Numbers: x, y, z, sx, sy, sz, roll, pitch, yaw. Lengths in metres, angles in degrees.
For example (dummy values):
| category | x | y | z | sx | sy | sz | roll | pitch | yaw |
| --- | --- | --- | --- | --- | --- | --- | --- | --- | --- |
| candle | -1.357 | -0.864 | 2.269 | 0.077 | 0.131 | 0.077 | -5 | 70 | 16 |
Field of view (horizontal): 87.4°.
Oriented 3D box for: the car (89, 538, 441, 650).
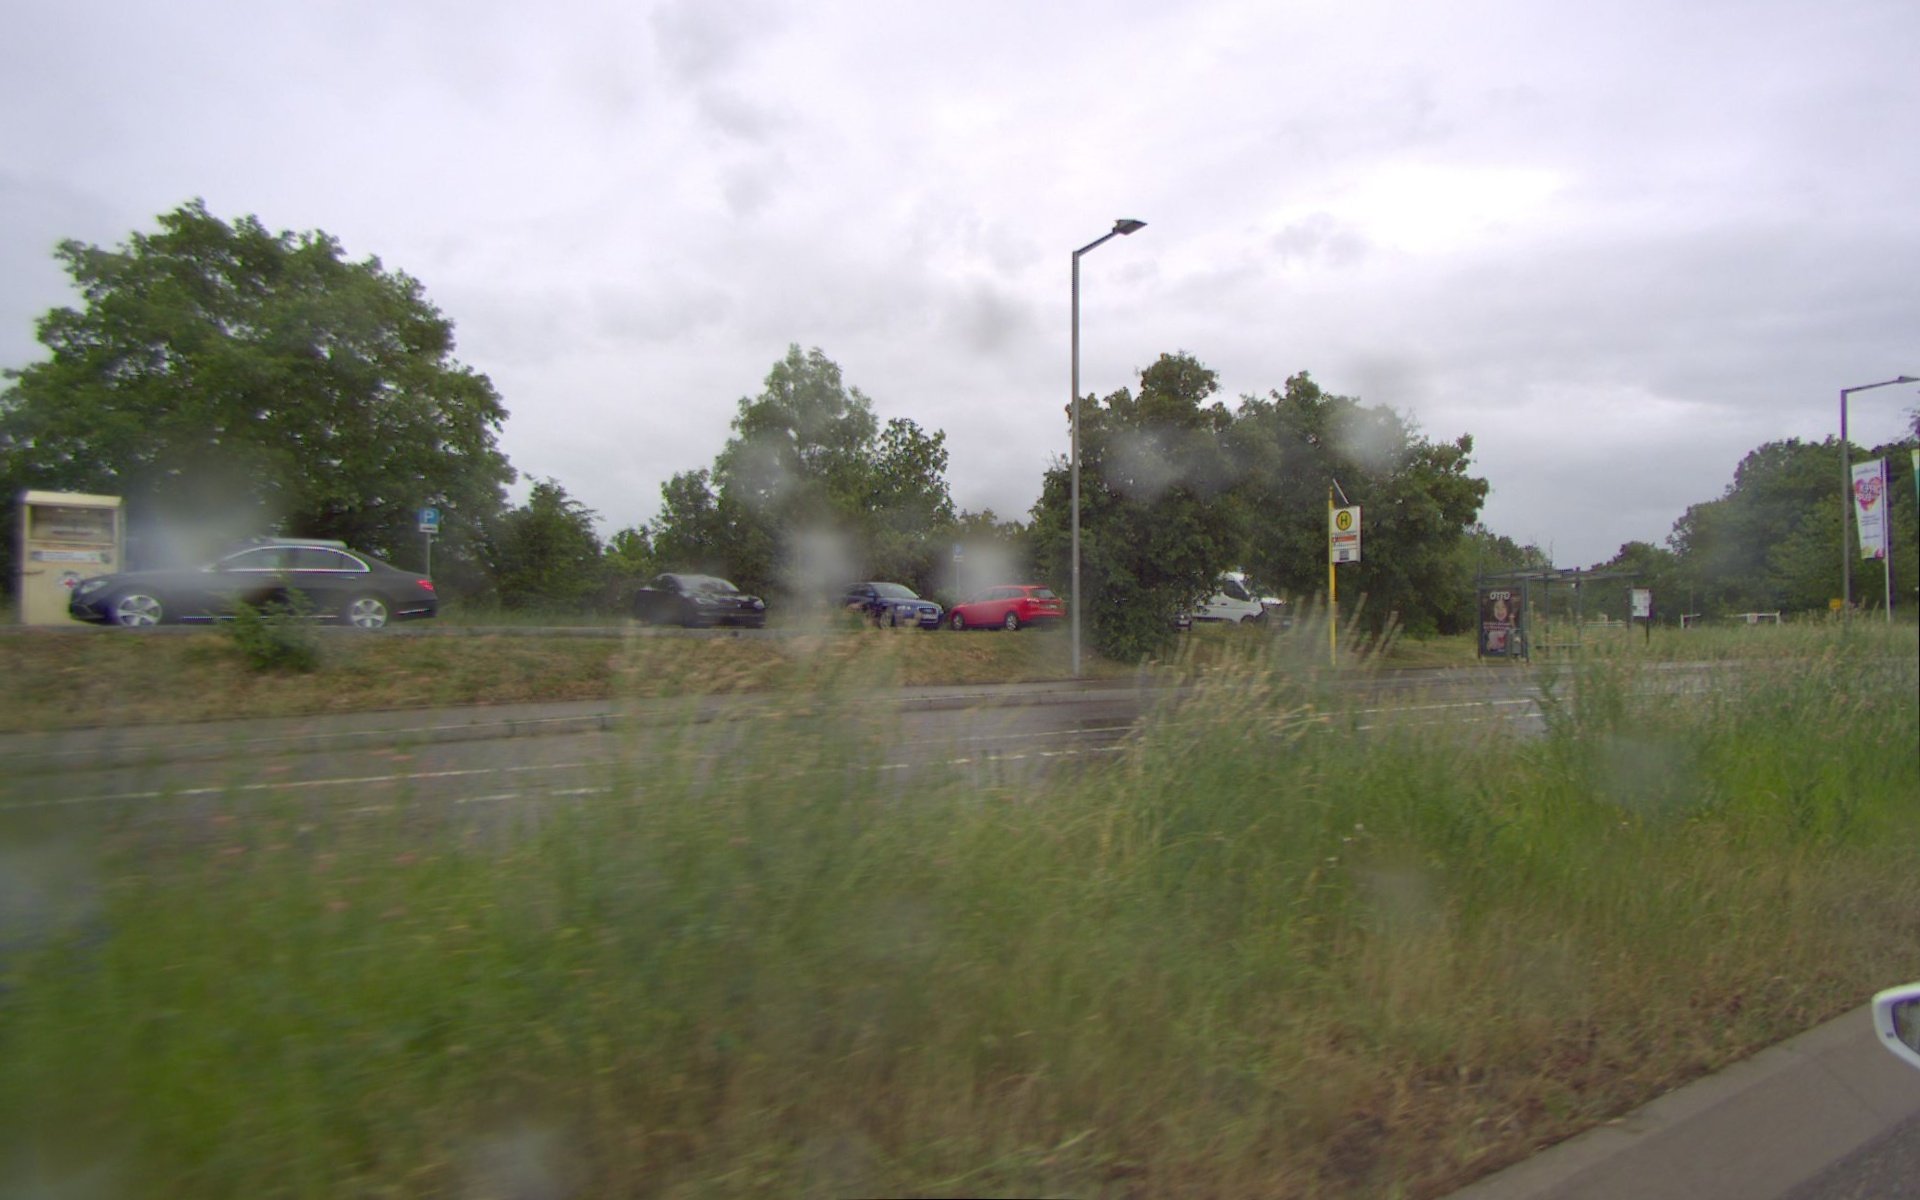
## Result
| category | x | y | z | sx | sy | sz | roll | pitch | yaw |
| --- | --- | --- | --- | --- | --- | --- | --- | --- | --- |
| car | -11.076 | -0.113 | 16.331 | 4.498 | 1.589 | 1.679 | 0 | 2 | -36 |

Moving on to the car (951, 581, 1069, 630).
| category | x | y | z | sx | sy | sz | roll | pitch | yaw |
| --- | --- | --- | --- | --- | --- | --- | --- | --- | --- |
| car | 1.548 | 0.218 | 32.550 | 1.829 | 1.488 | 3.962 | 1 | -2 | -34 |

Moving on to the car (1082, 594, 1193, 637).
| category | x | y | z | sx | sy | sz | roll | pitch | yaw |
| --- | --- | --- | --- | --- | --- | --- | --- | --- | --- |
| car | 6.221 | 0.517 | 35.641 | 1.635 | 1.382 | 3.964 | 1 | 1 | -32 |

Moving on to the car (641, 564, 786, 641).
| category | x | y | z | sx | sy | sz | roll | pitch | yaw |
| --- | --- | --- | --- | --- | --- | --- | --- | --- | --- |
| car | -6.245 | 0.072 | 25.073 | 1.985 | 1.716 | 4.676 | 1 | -1 | -35 |

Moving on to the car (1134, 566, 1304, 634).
| category | x | y | z | sx | sy | sz | roll | pitch | yaw |
| --- | --- | --- | --- | --- | --- | --- | --- | --- | --- |
| car | 10.037 | 0.029 | 39.535 | 2.121 | 2.429 | 6.504 | 3 | -2 | -38 |

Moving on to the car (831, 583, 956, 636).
| category | x | y | z | sx | sy | sz | roll | pitch | yaw |
| --- | --- | --- | --- | --- | --- | --- | --- | --- | --- |
| car | -1.977 | 0.240 | 28.752 | 1.879 | 1.382 | 3.964 | 1 | 1 | -32 |
